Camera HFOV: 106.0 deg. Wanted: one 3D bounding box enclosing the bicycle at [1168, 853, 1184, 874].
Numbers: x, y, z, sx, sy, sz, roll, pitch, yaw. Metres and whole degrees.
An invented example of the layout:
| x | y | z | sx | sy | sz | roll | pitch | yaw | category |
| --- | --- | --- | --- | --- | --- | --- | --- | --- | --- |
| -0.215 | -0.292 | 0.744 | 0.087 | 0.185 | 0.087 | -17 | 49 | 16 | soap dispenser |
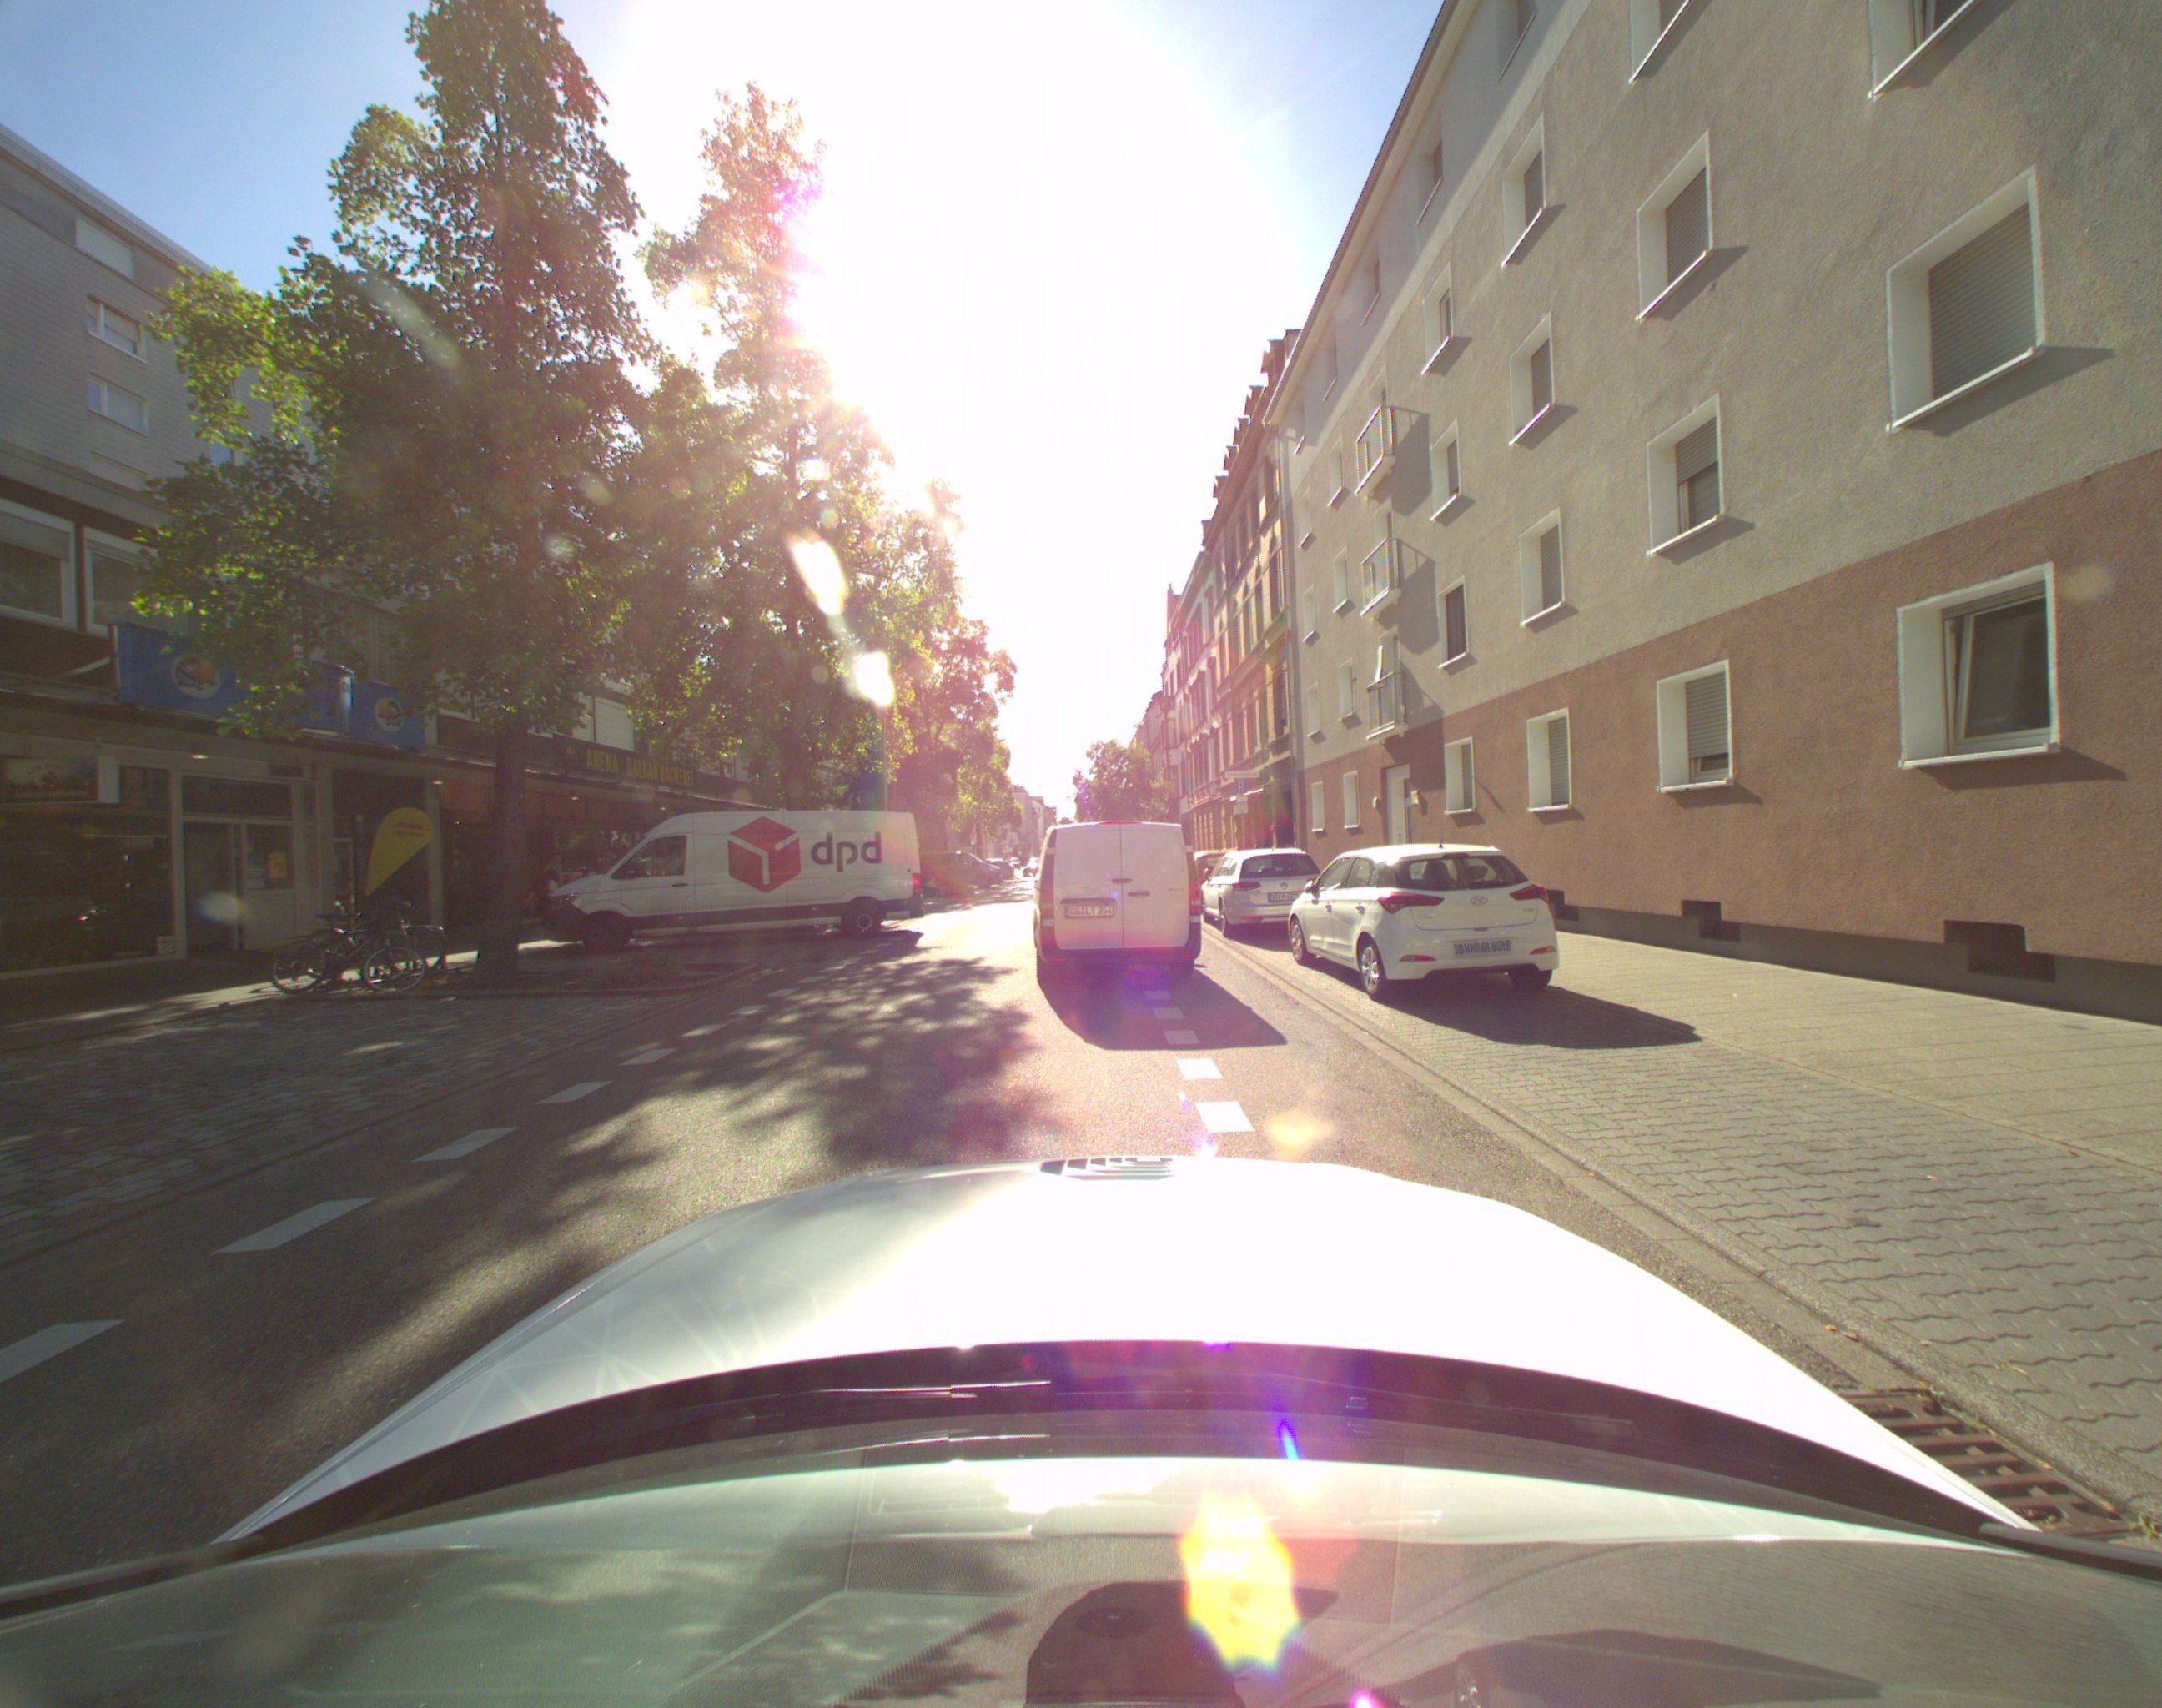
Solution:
| x | y | z | sx | sy | sz | roll | pitch | yaw | category |
| --- | --- | --- | --- | --- | --- | --- | --- | --- | --- |
| 5.651 | 0.581 | 48.482 | 0.534 | 1.148 | 2.124 | -9 | -1 | 0 | bicycle |

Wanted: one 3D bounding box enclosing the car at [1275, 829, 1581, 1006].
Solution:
| x | y | z | sx | sy | sz | roll | pitch | yaw | category |
| --- | --- | --- | --- | --- | --- | --- | --- | --- | --- |
| 3.600 | 0.576 | 9.268 | 1.726 | 1.486 | 3.792 | -4 | 0 | -1 | car |

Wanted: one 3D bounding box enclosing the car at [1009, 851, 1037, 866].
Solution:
| x | y | z | sx | sy | sz | roll | pitch | yaw | category |
| --- | --- | --- | --- | --- | --- | --- | --- | --- | --- |
| -8.825 | 0.691 | 124.113 | 3.974 | 2.013 | 2.000 | -2 | 0 | 0 | car |

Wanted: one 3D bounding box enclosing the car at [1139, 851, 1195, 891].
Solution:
| x | y | z | sx | sy | sz | roll | pitch | yaw | category |
| --- | --- | --- | --- | --- | --- | --- | --- | --- | --- |
| 3.397 | 0.647 | 32.931 | 1.733 | 1.451 | 3.998 | -2 | 0 | -1 | car |

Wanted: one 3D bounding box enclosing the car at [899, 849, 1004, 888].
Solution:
| x | y | z | sx | sy | sz | roll | pitch | yaw | category |
| --- | --- | --- | --- | --- | --- | --- | --- | --- | --- |
| -6.860 | 0.761 | 43.653 | 5.277 | 1.974 | 2.014 | -1 | 0 | -1 | car |

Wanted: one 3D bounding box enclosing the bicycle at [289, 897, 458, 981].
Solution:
| x | y | z | sx | sy | sz | roll | pitch | yaw | category |
| --- | --- | --- | --- | --- | --- | --- | --- | --- | --- |
| -9.790 | 1.160 | 11.293 | 1.861 | 1.106 | 0.587 | 0 | 0 | 2 | bicycle |

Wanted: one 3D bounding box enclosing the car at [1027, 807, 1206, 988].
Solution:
| x | y | z | sx | sy | sz | roll | pitch | yaw | category |
| --- | --- | --- | --- | --- | --- | --- | --- | --- | --- |
| 0.239 | 0.458 | 11.238 | 1.917 | 1.914 | 4.881 | -1 | 0 | -4 | car |

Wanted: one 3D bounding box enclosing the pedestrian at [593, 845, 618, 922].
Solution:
| x | y | z | sx | sy | sz | roll | pitch | yaw | category |
| --- | --- | --- | --- | --- | --- | --- | --- | --- | --- |
| -12.105 | 0.745 | 20.735 | 0.389 | 1.934 | 0.361 | -1 | -1 | 1 | pedestrian |

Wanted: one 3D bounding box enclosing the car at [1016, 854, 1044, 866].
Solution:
| x | y | z | sx | sy | sz | roll | pitch | yaw | category |
| --- | --- | --- | --- | --- | --- | --- | --- | --- | --- |
| -7.595 | 0.917 | 121.018 | 3.979 | 1.640 | 1.997 | -2 | 0 | -4 | car |

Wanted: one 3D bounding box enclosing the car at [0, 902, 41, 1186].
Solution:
| x | y | z | sx | sy | sz | roll | pitch | yaw | category |
| --- | --- | --- | --- | --- | --- | --- | --- | --- | --- |
| -7.531 | 1.010 | 3.492 | 3.905 | 1.450 | 1.710 | -1 | 0 | 0 | car |

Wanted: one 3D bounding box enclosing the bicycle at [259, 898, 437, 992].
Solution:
| x | y | z | sx | sy | sz | roll | pitch | yaw | category |
| --- | --- | --- | --- | --- | --- | --- | --- | --- | --- |
| -9.246 | 1.128 | 10.312 | 1.712 | 1.117 | 0.623 | 0 | 0 | 2 | bicycle |

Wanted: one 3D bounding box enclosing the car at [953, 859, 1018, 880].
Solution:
| x | y | z | sx | sy | sz | roll | pitch | yaw | category |
| --- | --- | --- | --- | --- | --- | --- | --- | --- | --- |
| -6.745 | 1.079 | 57.752 | 4.289 | 1.460 | 1.763 | -1 | 0 | 1 | car |

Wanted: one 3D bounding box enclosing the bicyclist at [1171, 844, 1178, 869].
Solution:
| x | y | z | sx | sy | sz | roll | pitch | yaw | category |
| --- | --- | --- | --- | --- | --- | --- | --- | --- | --- |
| 5.563 | 0.133 | 48.549 | 0.359 | 1.477 | 0.531 | -1 | 0 | 2 | bicyclist |

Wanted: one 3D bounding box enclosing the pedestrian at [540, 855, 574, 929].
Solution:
| x | y | z | sx | sy | sz | roll | pitch | yaw | category |
| --- | --- | --- | --- | --- | --- | --- | --- | --- | --- |
| -13.055 | 0.939 | 20.292 | 0.483 | 1.782 | 0.427 | -3 | 0 | -3 | pedestrian |

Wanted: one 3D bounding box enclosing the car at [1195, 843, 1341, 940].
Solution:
| x | y | z | sx | sy | sz | roll | pitch | yaw | category |
| --- | --- | --- | --- | --- | --- | --- | --- | --- | --- |
| 3.317 | 0.599 | 15.340 | 1.779 | 1.460 | 4.518 | -3 | 0 | 2 | car |

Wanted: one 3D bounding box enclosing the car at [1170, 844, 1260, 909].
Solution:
| x | y | z | sx | sy | sz | roll | pitch | yaw | category |
| --- | --- | --- | --- | --- | --- | --- | --- | --- | --- |
| 3.401 | 0.544 | 21.292 | 1.704 | 1.480 | 3.709 | -2 | 0 | 0 | car |

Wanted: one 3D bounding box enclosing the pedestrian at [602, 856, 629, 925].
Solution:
| x | y | z | sx | sy | sz | roll | pitch | yaw | category |
| --- | --- | --- | --- | --- | --- | --- | --- | --- | --- |
| -11.647 | 0.901 | 20.382 | 0.389 | 1.705 | 0.502 | -1 | -1 | 1 | pedestrian |

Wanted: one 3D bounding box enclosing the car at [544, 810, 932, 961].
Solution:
| x | y | z | sx | sy | sz | roll | pitch | yaw | category |
| --- | --- | --- | --- | --- | --- | --- | --- | --- | --- |
| -6.483 | 0.463 | 16.080 | 6.619 | 2.474 | 1.982 | -2 | 0 | -28 | car |

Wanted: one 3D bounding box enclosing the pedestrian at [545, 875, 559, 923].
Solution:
| x | y | z | sx | sy | sz | roll | pitch | yaw | category |
| --- | --- | --- | --- | --- | --- | --- | --- | --- | --- |
| -13.799 | 1.170 | 21.234 | 0.212 | 1.244 | 0.215 | -1 | -1 | 1 | pedestrian |

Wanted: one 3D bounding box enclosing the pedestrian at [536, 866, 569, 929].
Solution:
| x | y | z | sx | sy | sz | roll | pitch | yaw | category |
| --- | --- | --- | --- | --- | --- | --- | --- | --- | --- |
| -12.828 | 1.046 | 19.784 | 0.467 | 1.473 | 0.420 | -2 | 0 | -3 | pedestrian |
